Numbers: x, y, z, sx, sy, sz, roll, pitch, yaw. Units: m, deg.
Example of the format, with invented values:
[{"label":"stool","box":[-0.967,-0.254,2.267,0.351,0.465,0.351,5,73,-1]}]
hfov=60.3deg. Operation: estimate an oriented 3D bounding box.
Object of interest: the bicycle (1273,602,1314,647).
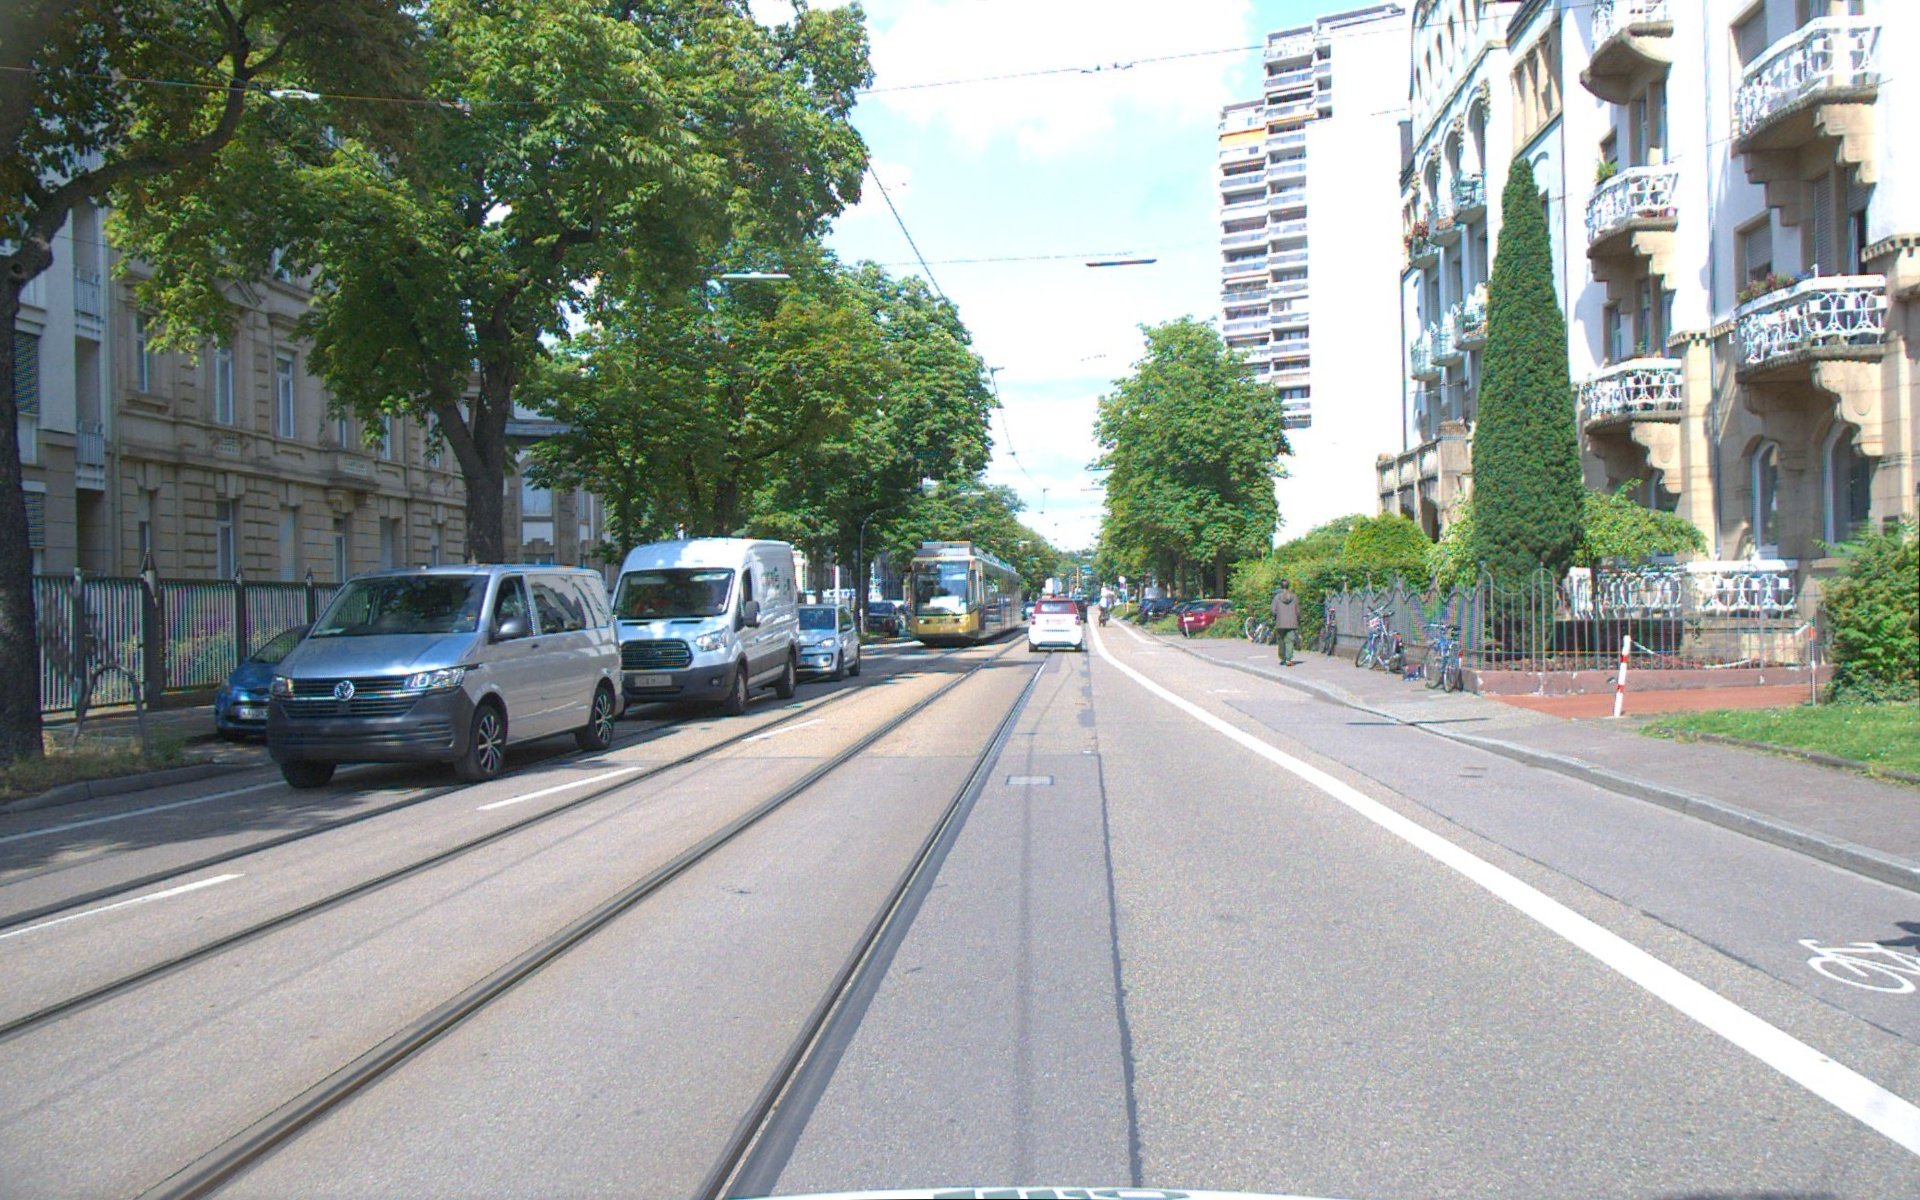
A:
[{"label":"bicycle","box":[8.126,0.584,40.350,0.598,1.013,2.363,-4,-1,4]}]

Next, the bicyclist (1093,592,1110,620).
[{"label":"bicyclist","box":[7.989,0.330,93.360,0.871,1.555,1.086,0,-1,10]}]

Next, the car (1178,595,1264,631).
[{"label":"car","box":[11.258,0.543,71.289,3.965,1.486,1.512,0,0,-42]}]

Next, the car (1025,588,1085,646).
[{"label":"car","box":[2.844,0.499,48.777,1.630,1.653,3.623,0,0,5]}]

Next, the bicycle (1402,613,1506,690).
[{"label":"bicycle","box":[7.171,0.721,24.182,0.587,0.977,3.067,-5,0,1]}]

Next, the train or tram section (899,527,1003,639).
[{"label":"train or tram section","box":[-0.136,-0.508,60.204,2.597,3.496,12.321,-3,-1,4]}]

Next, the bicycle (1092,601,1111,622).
[{"label":"bicycle","box":[8.014,0.668,93.534,0.856,1.145,2.138,0,-1,10]}]

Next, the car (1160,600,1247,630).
[{"label":"car","box":[11.512,0.697,78.006,4.138,1.373,1.877,0,0,-41]}]

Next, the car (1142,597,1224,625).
[{"label":"car","box":[12.273,0.631,90.875,4.496,1.467,2.001,1,-1,-42]}]

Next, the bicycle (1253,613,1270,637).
[{"label":"bicycle","box":[9.035,0.746,49.628,0.273,0.689,1.560,-4,-1,4]}]

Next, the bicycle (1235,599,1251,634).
[{"label":"bicycle","box":[9.410,0.541,55.050,0.273,1.128,2.012,-4,-1,4]}]

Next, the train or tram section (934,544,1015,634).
[{"label":"train or tram section","box":[0.776,-0.399,71.957,2.597,3.448,11.479,-3,-1,4]}]

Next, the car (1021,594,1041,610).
[{"label":"car","box":[7.085,0.251,164.602,1.736,1.441,3.854,-4,-1,4]}]

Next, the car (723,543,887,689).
[{"label":"car","box":[-2.898,0.281,32.630,2.267,2.551,6.366,-1,0,3]}]

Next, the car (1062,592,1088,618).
[{"label":"car","box":[7.544,0.329,108.514,1.630,1.653,3.622,-2,0,4]}]

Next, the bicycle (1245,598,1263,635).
[{"label":"bicycle","box":[9.164,0.513,51.538,0.273,1.128,2.012,-4,-1,4]}]

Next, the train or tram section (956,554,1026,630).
[{"label":"train or tram section","box":[1.744,-0.323,84.646,2.597,3.414,14.115,-3,-1,4]}]

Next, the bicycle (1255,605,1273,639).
[{"label":"bicycle","box":[8.890,0.640,48.390,0.268,0.922,1.669,-4,1,4]}]

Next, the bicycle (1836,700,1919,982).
[{"label":"bicycle","box":[3.986,0.926,6.055,0.603,1.063,1.836,-5,-2,4]}]

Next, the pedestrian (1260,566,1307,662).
[{"label":"pedestrian","box":[6.462,0.275,33.055,0.772,1.894,0.580,-1,-1,-3]}]

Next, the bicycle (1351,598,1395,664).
[{"label":"bicycle","box":[7.574,0.549,30.397,0.441,1.142,1.845,-4,0,5]}]

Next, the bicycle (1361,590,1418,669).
[{"label":"bicycle","box":[7.271,0.481,28.049,0.442,1.283,1.844,-3,0,1]}]

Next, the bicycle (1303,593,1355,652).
[{"label":"bicycle","box":[8.206,0.498,36.865,0.725,1.252,2.517,-1,-1,4]}]

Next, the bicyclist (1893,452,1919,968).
[{"label":"bicyclist","box":[3.966,0.420,5.987,0.594,1.982,1.131,0,-1,4]}]

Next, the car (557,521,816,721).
[{"label":"car","box":[-3.852,0.233,24.750,2.267,2.551,6.367,-1,1,5]}]

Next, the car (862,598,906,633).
[{"label":"car","box":[-3.776,0.778,82.691,1.713,1.694,4.723,0,0,3]}]

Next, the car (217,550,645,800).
[{"label":"car","box":[-4.888,0.624,16.264,1.944,1.997,5.183,-2,0,7]}]

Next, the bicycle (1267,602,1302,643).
[{"label":"bicycle","box":[8.373,0.576,42.740,0.599,1.006,1.873,-3,-1,4]}]

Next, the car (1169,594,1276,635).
[{"label":"car","box":[10.286,0.565,64.775,4.118,1.448,1.841,-1,0,-39]}]

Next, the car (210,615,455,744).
[{"label":"car","box":[-8.304,0.989,22.291,1.516,1.545,4.087,0,0,4]}]
